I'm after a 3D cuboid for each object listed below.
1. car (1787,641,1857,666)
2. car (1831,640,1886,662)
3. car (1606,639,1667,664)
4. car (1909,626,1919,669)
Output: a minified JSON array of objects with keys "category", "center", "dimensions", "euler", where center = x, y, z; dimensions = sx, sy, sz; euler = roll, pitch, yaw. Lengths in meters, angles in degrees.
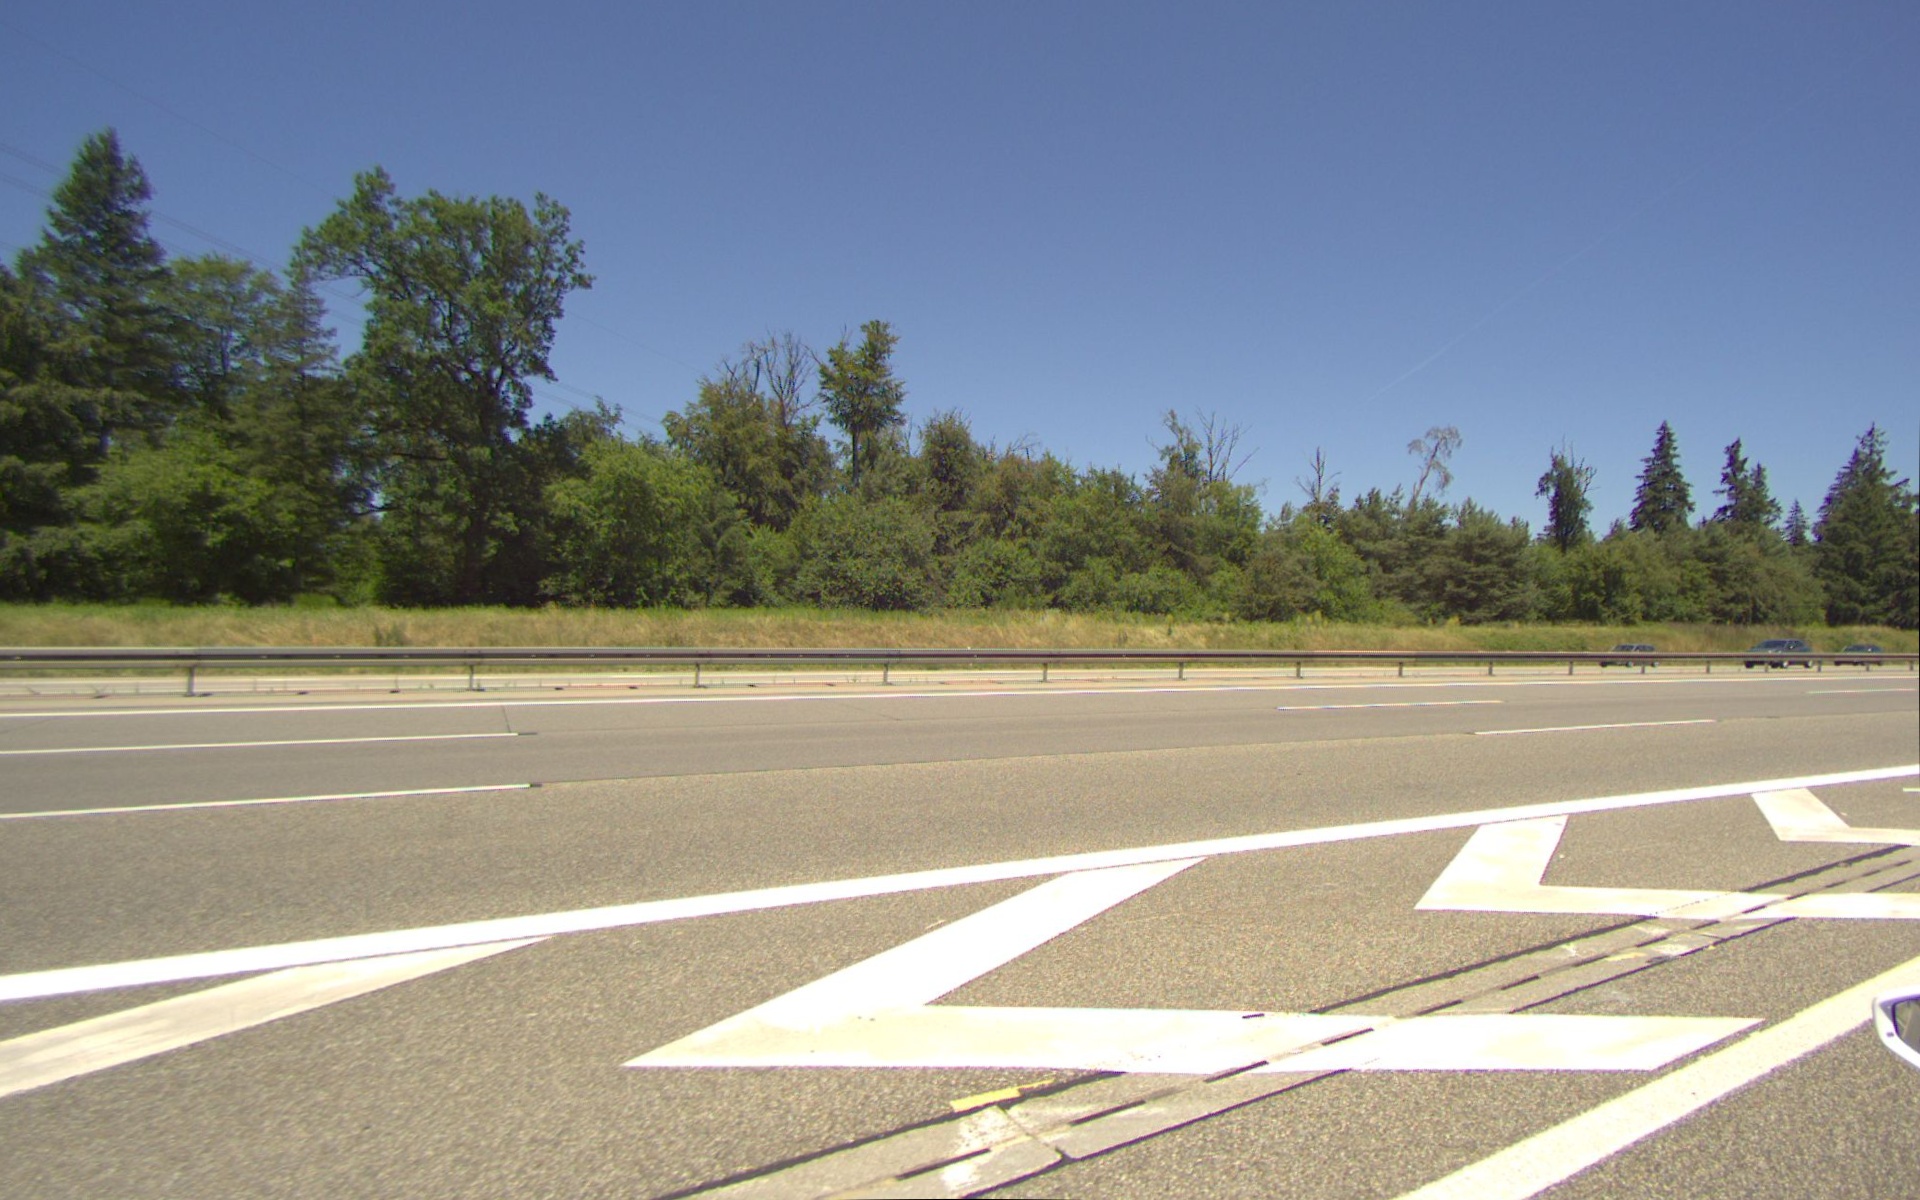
[{"category":"car","center":[45.776,2.843,53.358],"dimensions":[3.520,1.277,1.615],"euler":[2,-2,-27]},{"category":"car","center":[65.792,3.732,73.584],"dimensions":[3.945,1.547,1.554],"euler":[2,0,-25]},{"category":"car","center":[41.688,3.166,61.866],"dimensions":[3.520,1.497,1.615],"euler":[2,-2,-27]},{"category":"car","center":[35.251,1.658,35.039],"dimensions":[4.537,1.494,1.697],"euler":[1,-1,-27]}]
